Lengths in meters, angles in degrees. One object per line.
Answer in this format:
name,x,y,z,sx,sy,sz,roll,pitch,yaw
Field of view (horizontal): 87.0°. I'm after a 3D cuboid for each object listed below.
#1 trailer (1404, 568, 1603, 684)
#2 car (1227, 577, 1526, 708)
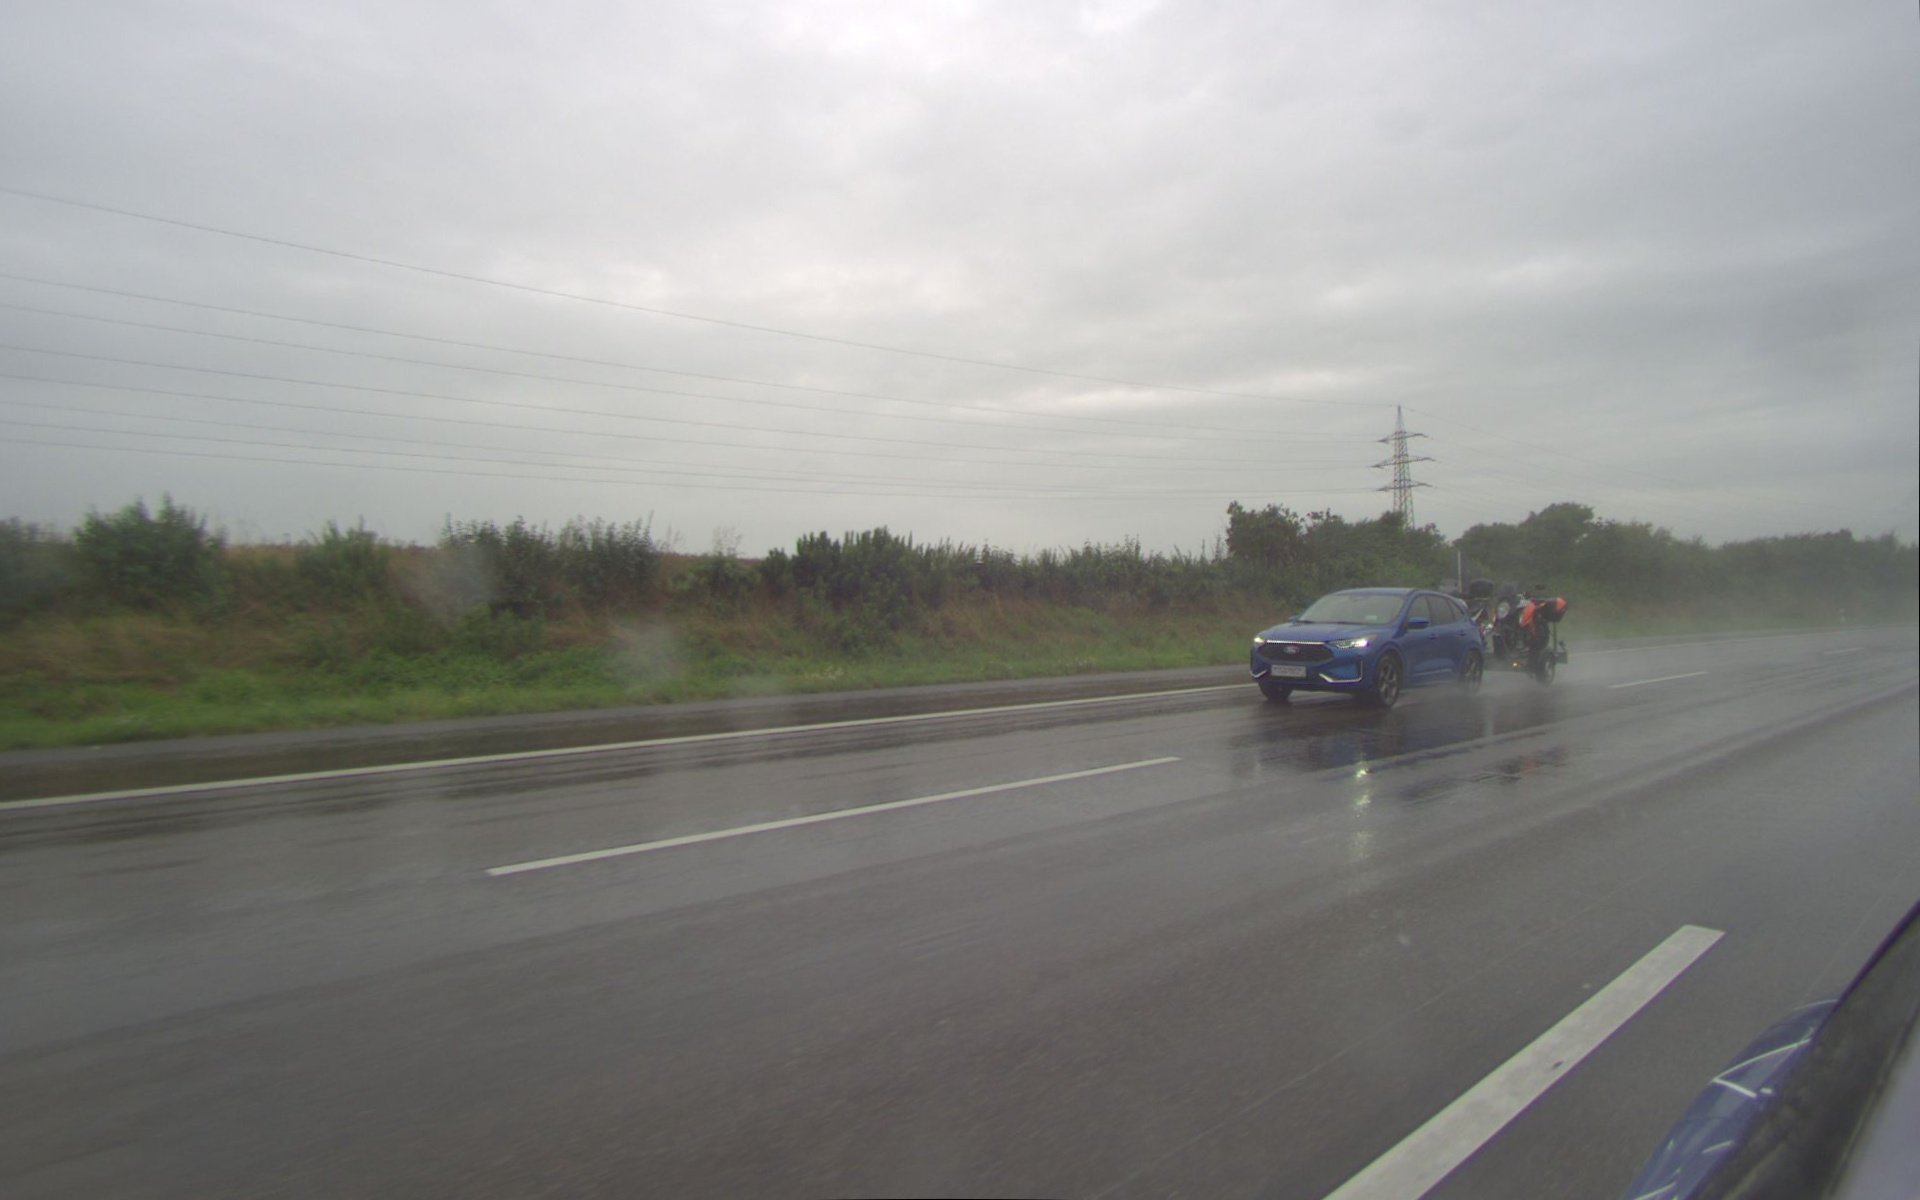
trailer,9.435,0.392,17.527,3.131,1.807,1.983,0,0,-39
car,6.273,0.513,14.970,4.902,1.639,1.998,0,0,-39
